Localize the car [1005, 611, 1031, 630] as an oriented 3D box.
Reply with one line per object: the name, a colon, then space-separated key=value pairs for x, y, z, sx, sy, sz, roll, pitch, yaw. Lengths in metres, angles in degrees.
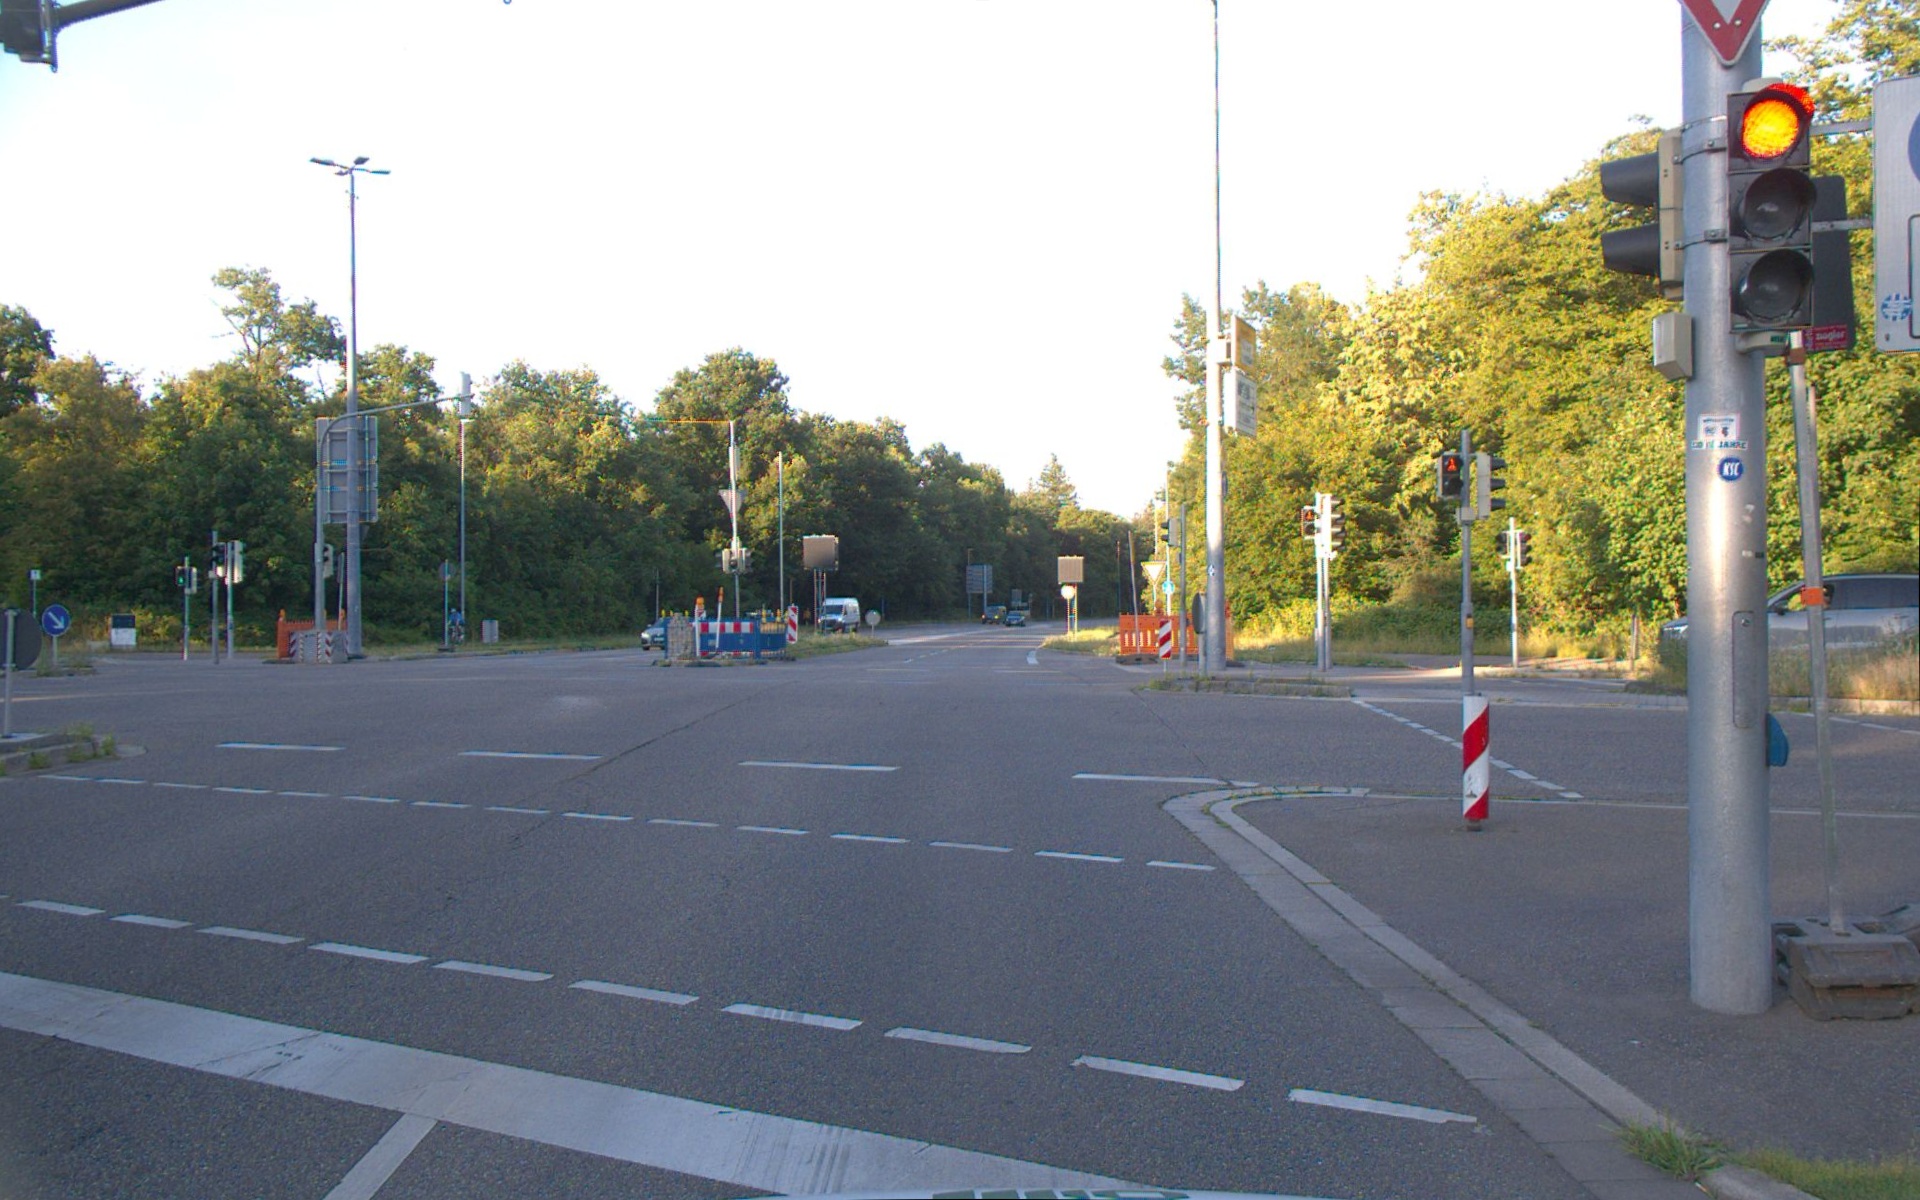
car: x=5.797 y=2.025 z=165.084 sx=1.951 sy=1.668 sz=4.004 roll=-2 pitch=1 yaw=11

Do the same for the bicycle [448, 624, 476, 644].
bicycle: x=-21.809 y=1.491 z=72.465 sx=1.096 sy=0.840 sz=0.407 roll=0 pitch=0 yaw=-42

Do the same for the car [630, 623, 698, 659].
car: x=-12.767 y=1.746 z=71.547 sx=1.851 sy=1.466 sz=4.502 roll=0 pitch=0 yaw=4

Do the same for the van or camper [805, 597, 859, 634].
van or camper: x=-9.706 y=1.145 z=126.414 sx=2.824 sy=2.699 sz=7.127 roll=0 pitch=0 yaw=6

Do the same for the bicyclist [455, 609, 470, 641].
bicyclist: x=-21.804 y=1.087 z=72.471 sx=0.515 sy=1.411 sz=0.401 roll=0 pitch=0 yaw=-42

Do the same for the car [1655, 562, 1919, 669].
car: x=13.746 y=0.241 z=26.495 sx=4.716 sy=1.626 sz=2.000 roll=-1 pitch=0 yaw=21

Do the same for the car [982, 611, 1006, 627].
car: x=3.810 y=2.098 z=183.740 sx=1.951 sy=1.668 sz=4.003 roll=0 pitch=0 yaw=11

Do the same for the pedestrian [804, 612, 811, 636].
pedestrian: x=-13.226 y=2.060 z=143.215 sx=0.511 sy=2.049 sz=0.600 roll=1 pitch=-1 yaw=-1
